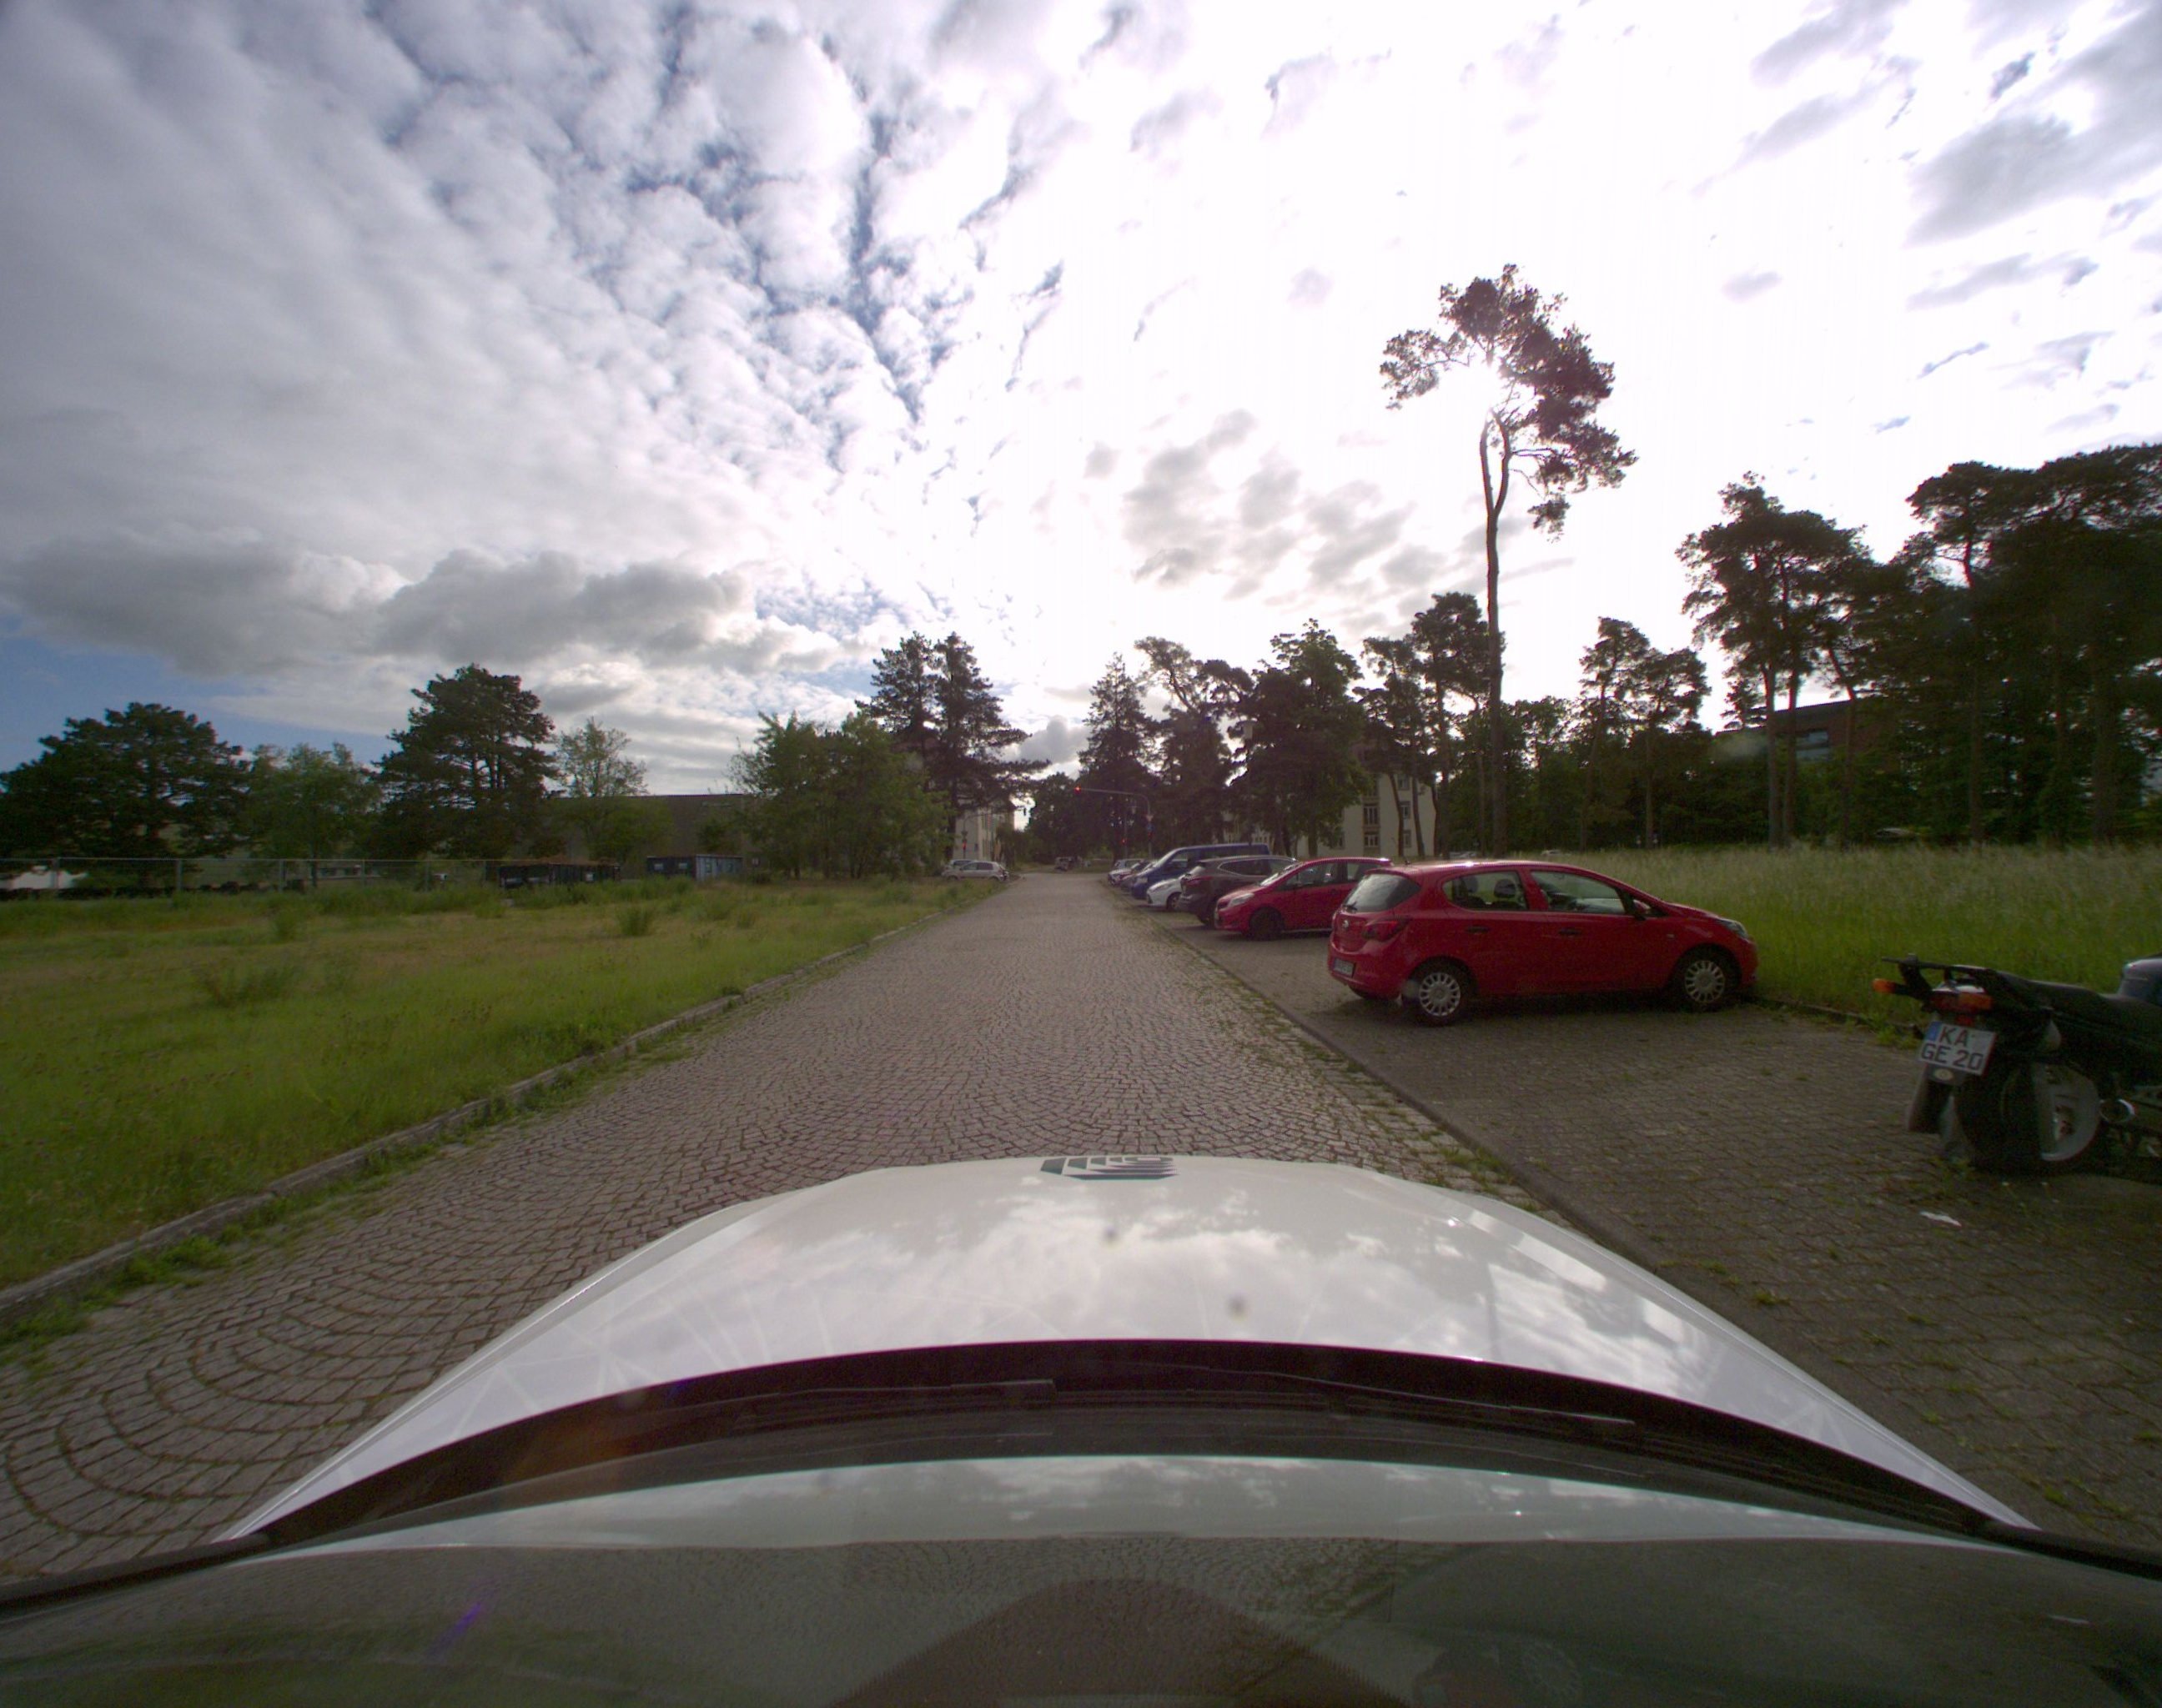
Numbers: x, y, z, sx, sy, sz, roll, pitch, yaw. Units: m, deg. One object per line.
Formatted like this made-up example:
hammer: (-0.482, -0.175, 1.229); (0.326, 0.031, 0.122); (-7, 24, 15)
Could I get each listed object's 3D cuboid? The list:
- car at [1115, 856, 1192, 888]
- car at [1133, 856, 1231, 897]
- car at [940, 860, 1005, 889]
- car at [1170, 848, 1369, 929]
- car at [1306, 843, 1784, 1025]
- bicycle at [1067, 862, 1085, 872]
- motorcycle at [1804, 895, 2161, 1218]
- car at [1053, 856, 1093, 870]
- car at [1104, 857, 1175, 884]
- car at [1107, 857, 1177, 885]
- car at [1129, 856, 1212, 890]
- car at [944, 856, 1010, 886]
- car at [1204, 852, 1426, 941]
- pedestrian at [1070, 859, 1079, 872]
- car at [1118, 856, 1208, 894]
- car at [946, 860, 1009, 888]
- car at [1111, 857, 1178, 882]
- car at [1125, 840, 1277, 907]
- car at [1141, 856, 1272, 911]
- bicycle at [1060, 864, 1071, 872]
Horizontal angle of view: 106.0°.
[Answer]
car: (3.658, 0.902, 41.194); (3.664, 1.449, 1.522); (-2, -1, -4)
car: (4.013, 0.901, 32.732); (3.664, 1.449, 1.522); (-2, -1, -4)
car: (-6.602, 1.221, 49.858); (3.815, 1.572, 1.562); (-2, -1, -5)
car: (4.190, 0.749, 18.492); (4.020, 1.552, 1.748); (-2, -1, -4)
car: (4.469, 0.724, 8.261); (3.816, 1.460, 1.778); (-2, -1, -2)
bicycle: (-0.580, 1.592, 100.026); (2.134, 1.215, 0.621); (0, -1, -6)
motorcycle: (4.817, 0.831, 3.760); (2.322, 1.186, 0.794); (-2, -1, -5)
car: (-1.139, 1.325, 117.921); (5.447, 2.014, 2.260); (0, -1, -11)
car: (3.457, 0.971, 48.579); (3.962, 1.421, 1.616); (-2, -1, -6)
car: (3.423, 0.945, 45.723); (3.667, 1.421, 1.521); (-2, -1, -6)
car: (4.185, 0.892, 38.504); (3.664, 1.449, 1.522); (-2, -1, -4)
car: (-7.009, 1.148, 55.251); (4.251, 1.840, 1.742); (-2, -1, -2)
car: (4.439, 0.783, 15.848); (3.781, 1.460, 1.750); (-2, -1, -2)
pedestrian: (-0.789, 1.391, 100.365); (1.032, 1.614, 0.756); (0, -1, -6)
car: (3.540, 0.899, 35.496); (3.664, 1.449, 1.522); (-2, -1, -4)
car: (-6.603, 1.278, 52.274); (3.812, 1.572, 1.563); (-2, -1, -2)
car: (3.978, 0.962, 51.245); (3.962, 1.421, 1.616); (-2, -1, -6)
car: (3.966, 0.635, 27.456); (4.744, 1.954, 1.929); (-2, -1, -4)
car: (3.775, 0.872, 24.854); (3.665, 1.449, 1.612); (-2, -1, -4)
bicycle: (-1.808, 1.667, 95.920); (0.623, 0.945, 1.647); (0, -1, -29)
